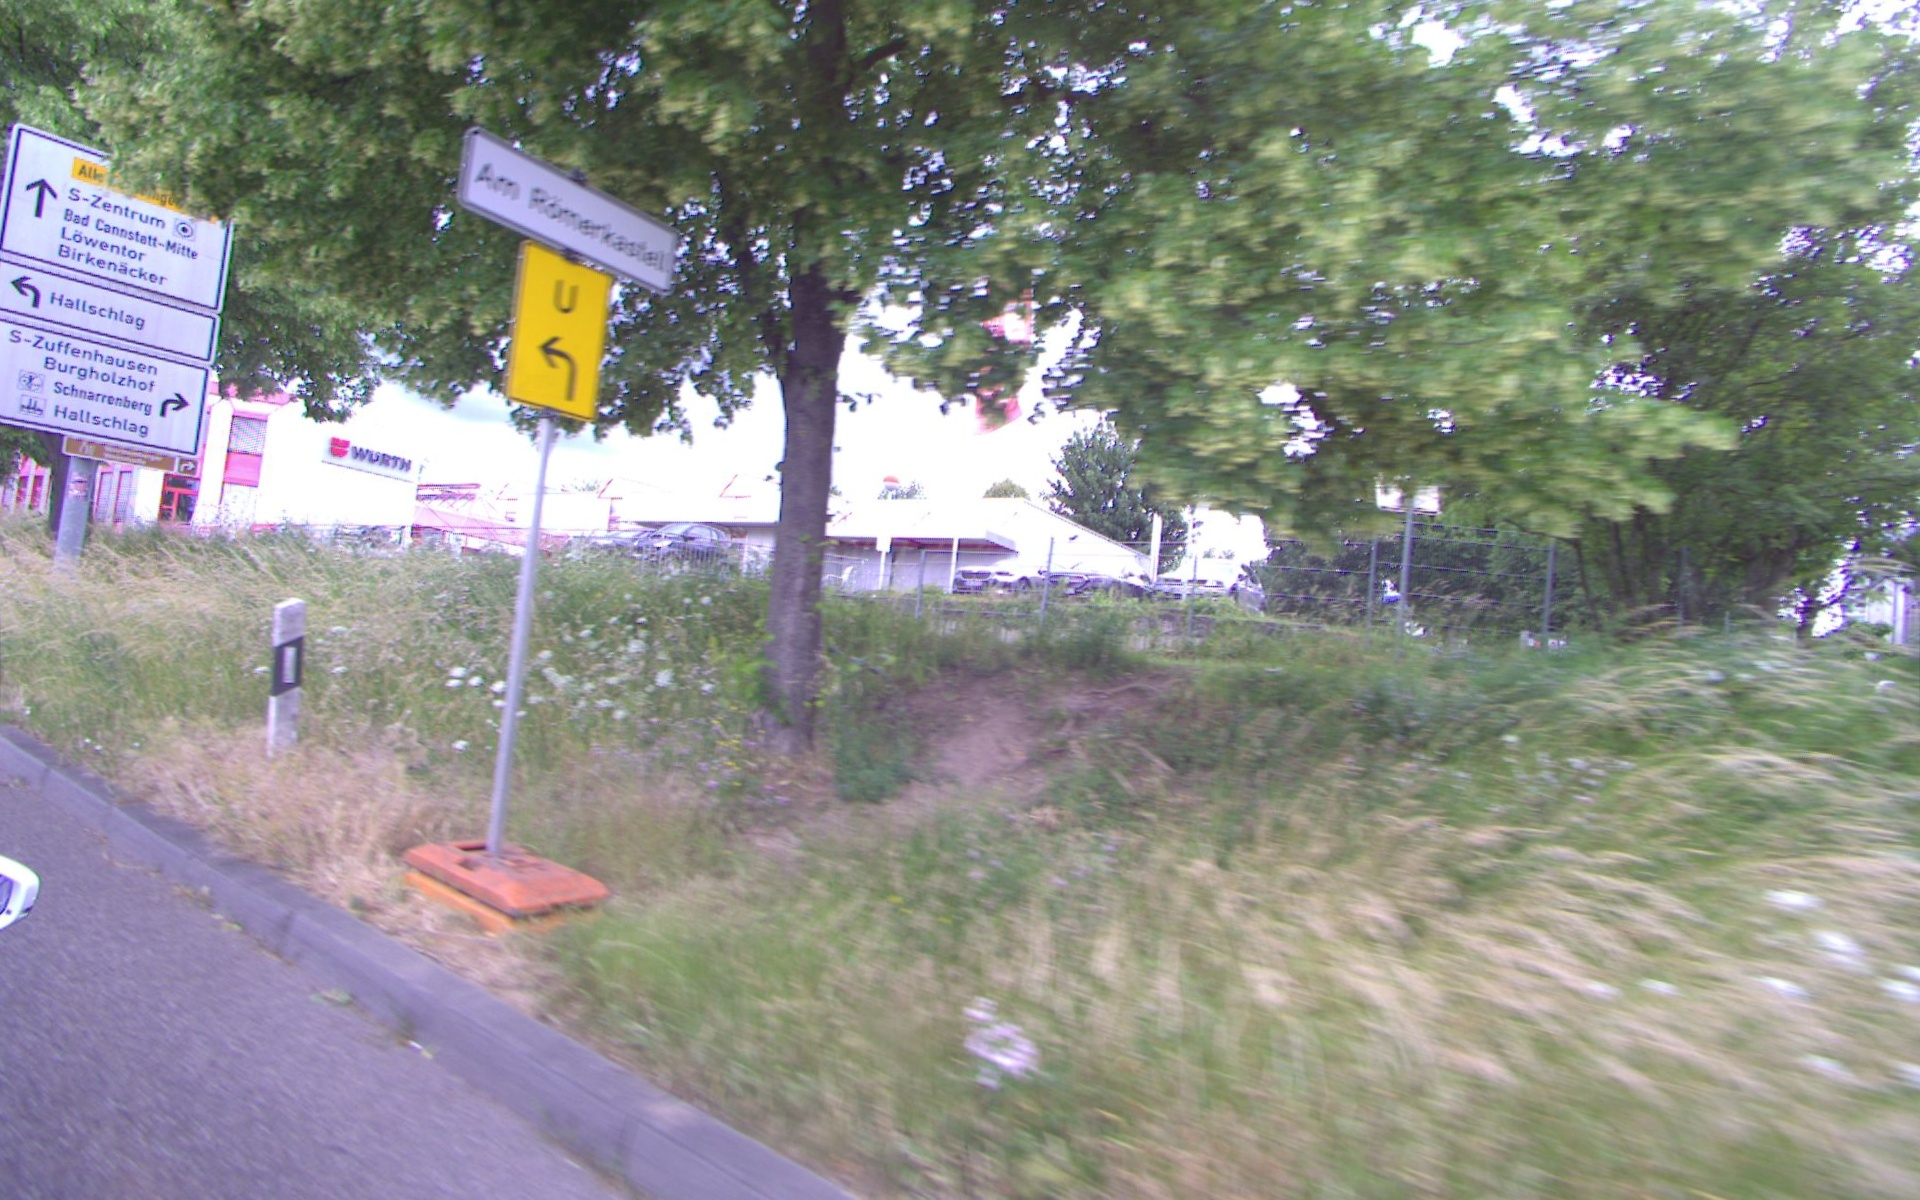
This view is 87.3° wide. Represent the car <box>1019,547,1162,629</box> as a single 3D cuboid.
[{"bbox_3d":[3.296,-0.253,24.765,1.728,1.383,3.931,6,-4,36],"label":"car"}]

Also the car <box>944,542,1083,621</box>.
[{"bbox_3d":[1.446,-0.437,26.044,1.728,1.378,3.761,6,-4,36],"label":"car"}]

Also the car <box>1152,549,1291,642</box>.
[{"bbox_3d":[6.190,-0.053,23.494,1.728,1.498,3.932,6,-4,36],"label":"car"}]

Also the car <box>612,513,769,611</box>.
[{"bbox_3d":[-7.274,-0.984,27.427,1.617,1.980,3.761,6,-3,36],"label":"car"}]
